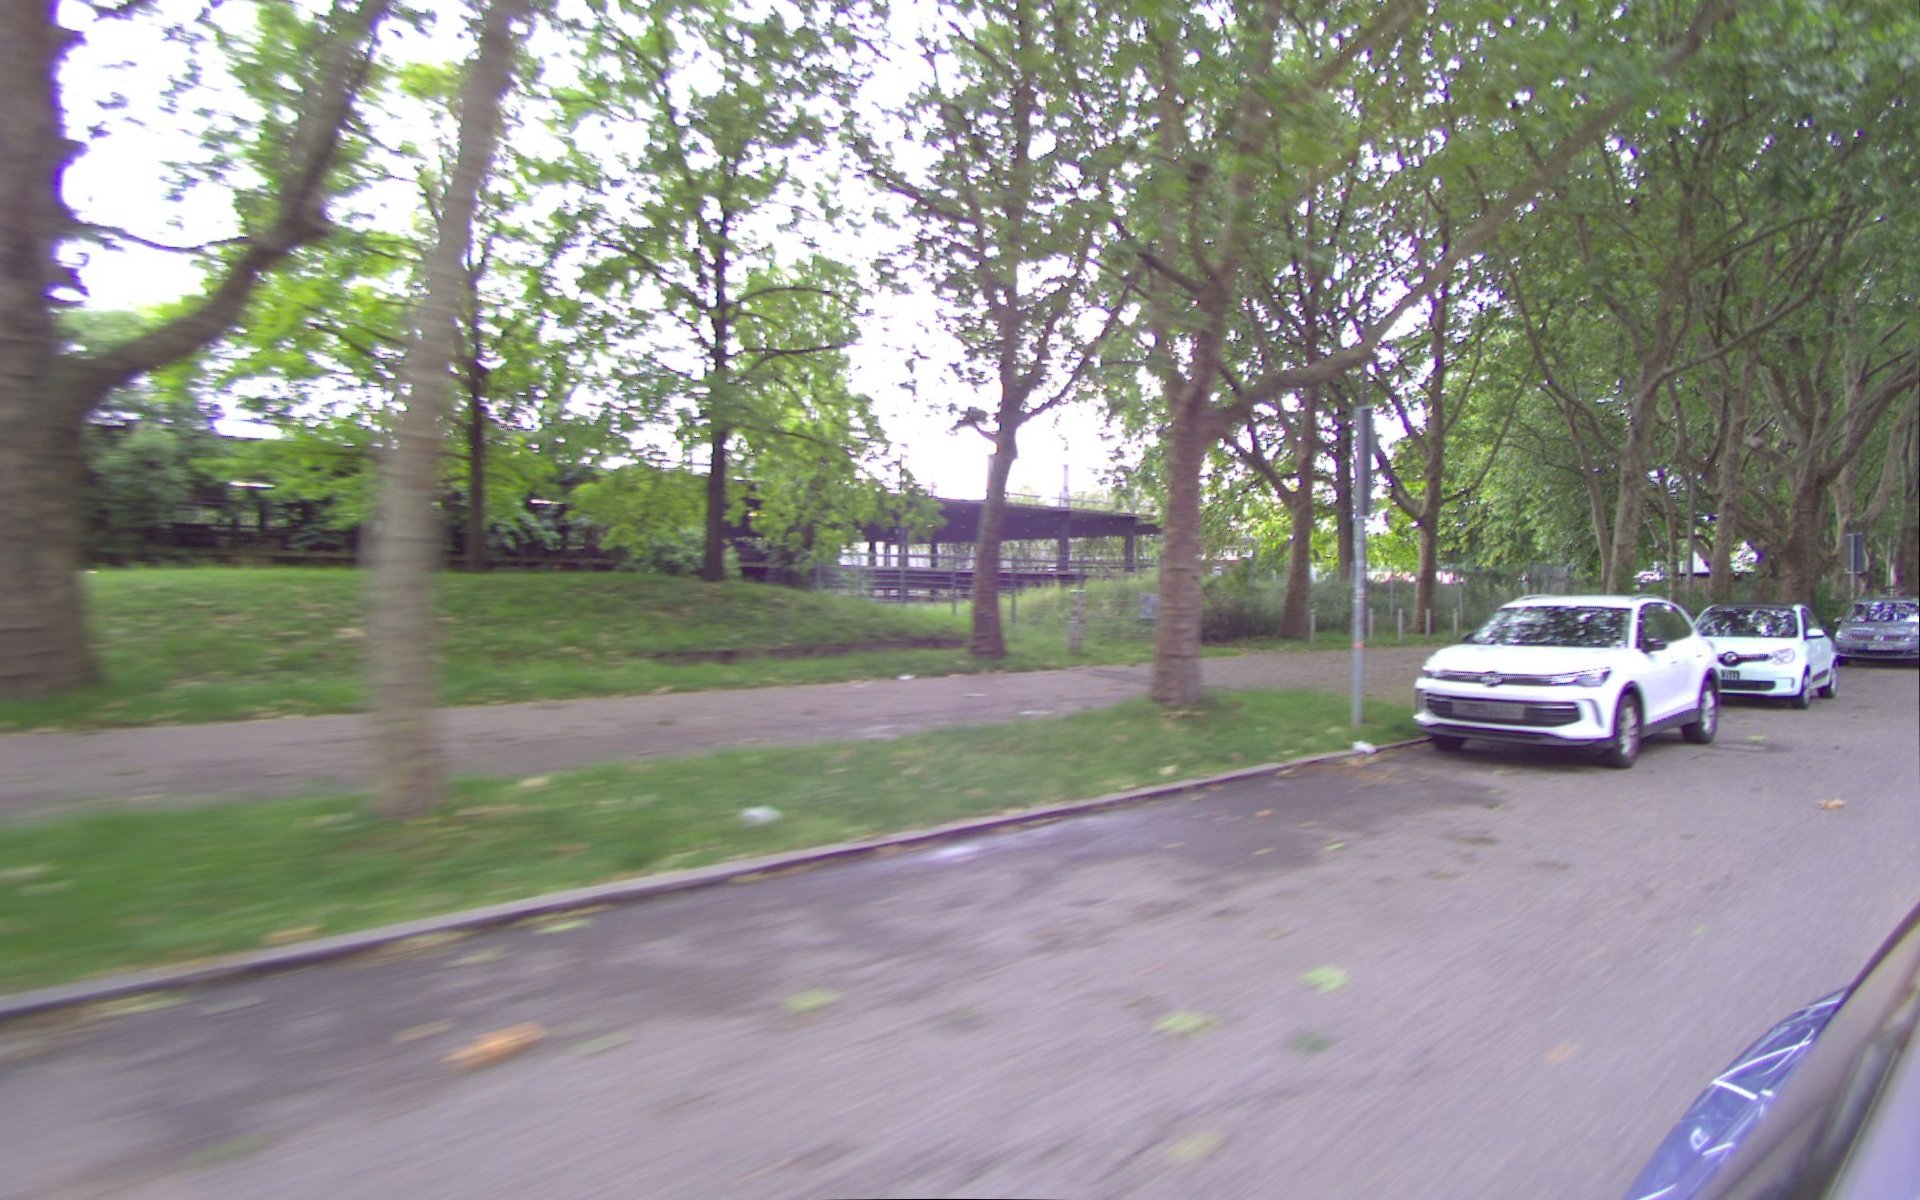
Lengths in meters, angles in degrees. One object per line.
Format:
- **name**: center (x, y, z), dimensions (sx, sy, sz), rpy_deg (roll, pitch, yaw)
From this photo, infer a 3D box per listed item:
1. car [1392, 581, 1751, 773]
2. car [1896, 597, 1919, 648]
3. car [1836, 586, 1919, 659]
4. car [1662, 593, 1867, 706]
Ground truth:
- **car**: center (6.731, 0.632, 10.919), dimensions (4.665, 1.638, 1.918), rpy_deg (-1, 1, -40)
- **car**: center (29.186, 0.655, 29.771), dimensions (4.399, 1.445, 1.881), rpy_deg (0, 1, -40)
- **car**: center (23.657, 0.499, 25.337), dimensions (4.649, 1.701, 1.985), rpy_deg (-1, 1, -41)
- **car**: center (12.930, 0.678, 16.188), dimensions (4.023, 1.545, 1.811), rpy_deg (-1, 1, -40)
